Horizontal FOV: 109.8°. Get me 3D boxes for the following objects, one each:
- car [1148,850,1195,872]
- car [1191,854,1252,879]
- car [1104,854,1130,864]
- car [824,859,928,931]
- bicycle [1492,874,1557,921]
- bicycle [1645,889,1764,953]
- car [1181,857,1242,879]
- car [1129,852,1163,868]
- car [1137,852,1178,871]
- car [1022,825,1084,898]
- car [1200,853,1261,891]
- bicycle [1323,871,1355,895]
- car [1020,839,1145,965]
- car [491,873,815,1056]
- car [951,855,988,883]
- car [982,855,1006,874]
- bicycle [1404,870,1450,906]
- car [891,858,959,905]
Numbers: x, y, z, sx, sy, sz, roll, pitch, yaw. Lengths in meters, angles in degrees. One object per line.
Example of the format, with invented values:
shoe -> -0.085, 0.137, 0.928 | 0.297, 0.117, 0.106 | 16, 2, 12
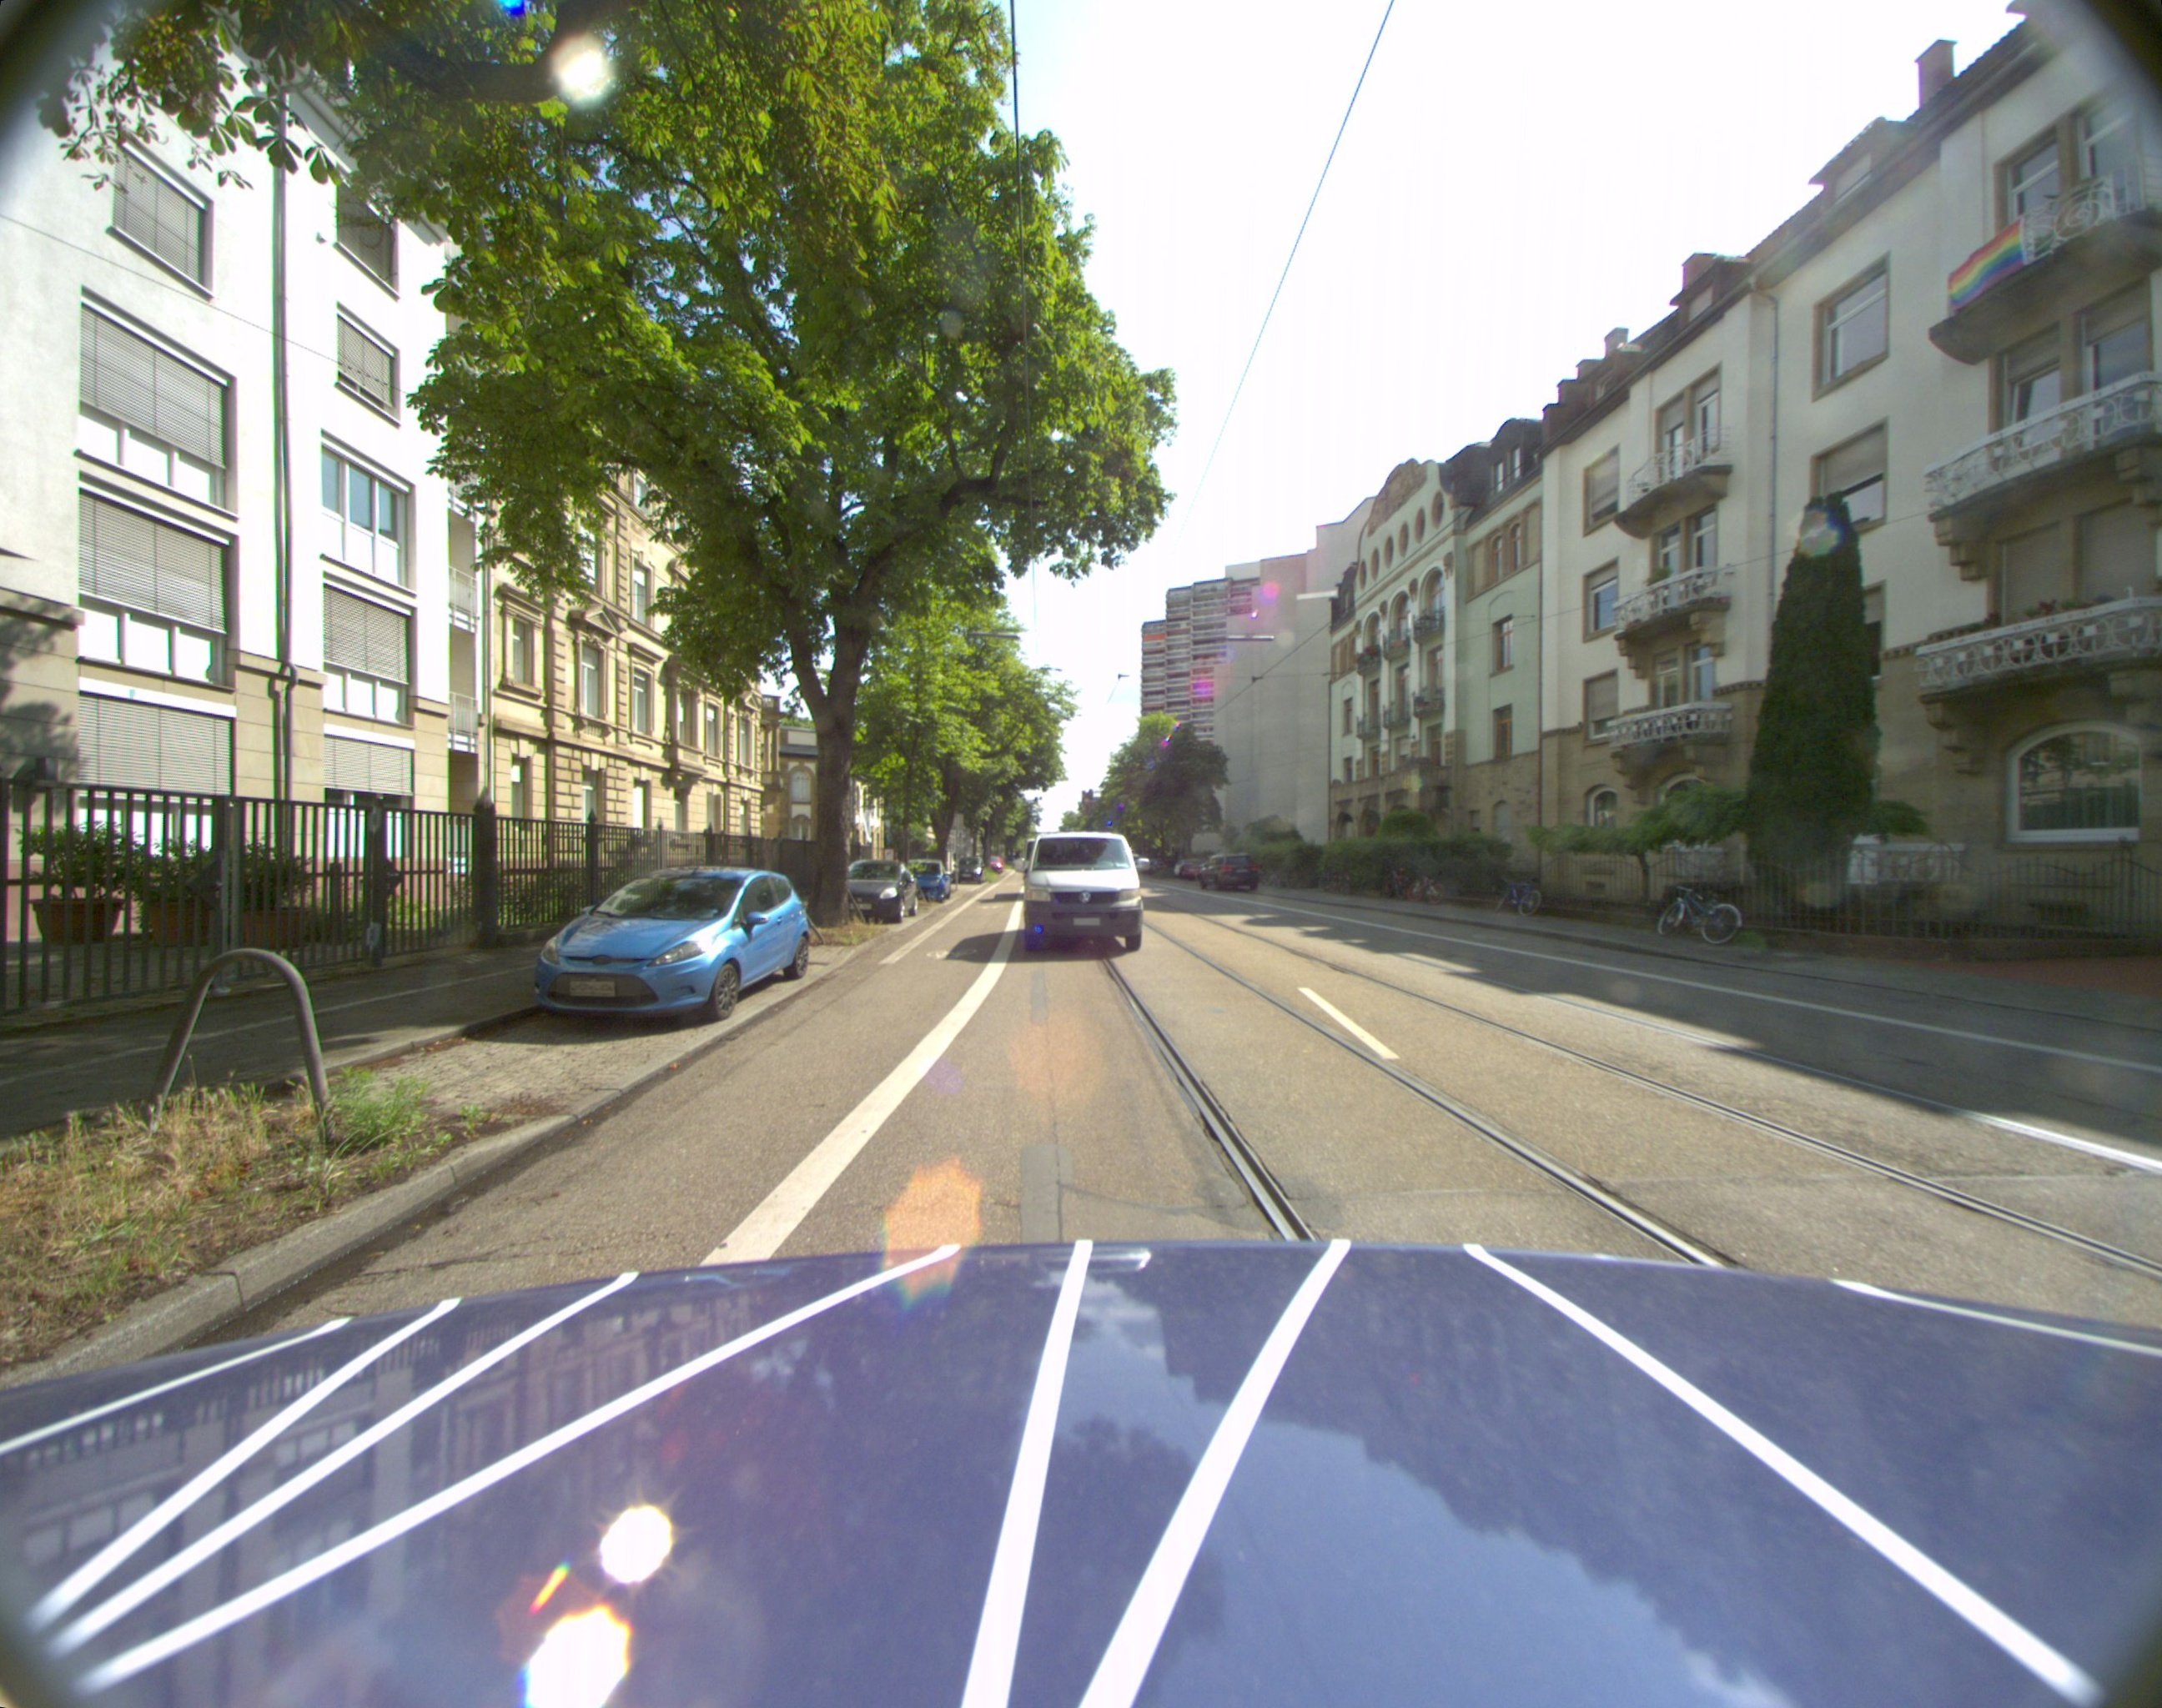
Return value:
car -> 8.062, 0.637, 68.263 | 3.997, 1.914, 1.831 | 0, 0, -1
car -> 9.032, 0.792, 49.108 | 3.631, 1.630, 1.610 | 0, 1, -3
car -> 5.309, 0.708, 113.409 | 3.815, 1.455, 1.725 | 0, 0, -1
car -> -4.935, 0.925, 18.740 | 1.644, 1.499, 3.622 | 2, 0, -2
bicycle -> 10.900, 1.041, 18.748 | 0.539, 1.024, 1.873 | 0, 1, 1
bicycle -> 11.056, 1.154, 13.569 | 0.524, 0.901, 2.067 | 0, 2, 4
car -> 8.916, 0.950, 52.036 | 3.890, 1.527, 1.634 | 0, 0, -1
car -> 6.928, 0.626, 81.247 | 3.542, 1.733, 1.635 | 0, 0, -1
car -> 7.150, 0.705, 71.513 | 3.663, 1.832, 1.735 | 0, 0, -3
car -> -1.189, 0.255, 29.715 | 2.168, 2.572, 5.661 | 0, 0, -4
car -> 7.012, 0.800, 36.049 | 1.796, 1.701, 4.330 | 0, 0, -4
bicycle -> 9.952, 1.108, 29.363 | 0.587, 0.792, 1.873 | -2, 1, 1
car -> 0.047, 0.702, 13.741 | 1.831, 1.856, 4.845 | -1, 0, 0
car -> -4.324, 1.003, 8.391 | 1.642, 1.447, 3.697 | 2, 0, -4
car -> -6.650, 0.892, 45.724 | 1.774, 1.522, 4.198 | 2, 0, -3
car -> -7.793, 0.889, 68.562 | 1.774, 1.563, 4.198 | 2, 0, -3
bicycle -> 10.565, 1.026, 23.235 | 0.587, 0.980, 1.873 | 0, 1, 1
car -> -5.421, 0.926, 26.854 | 1.724, 1.443, 3.925 | 2, 0, -3
